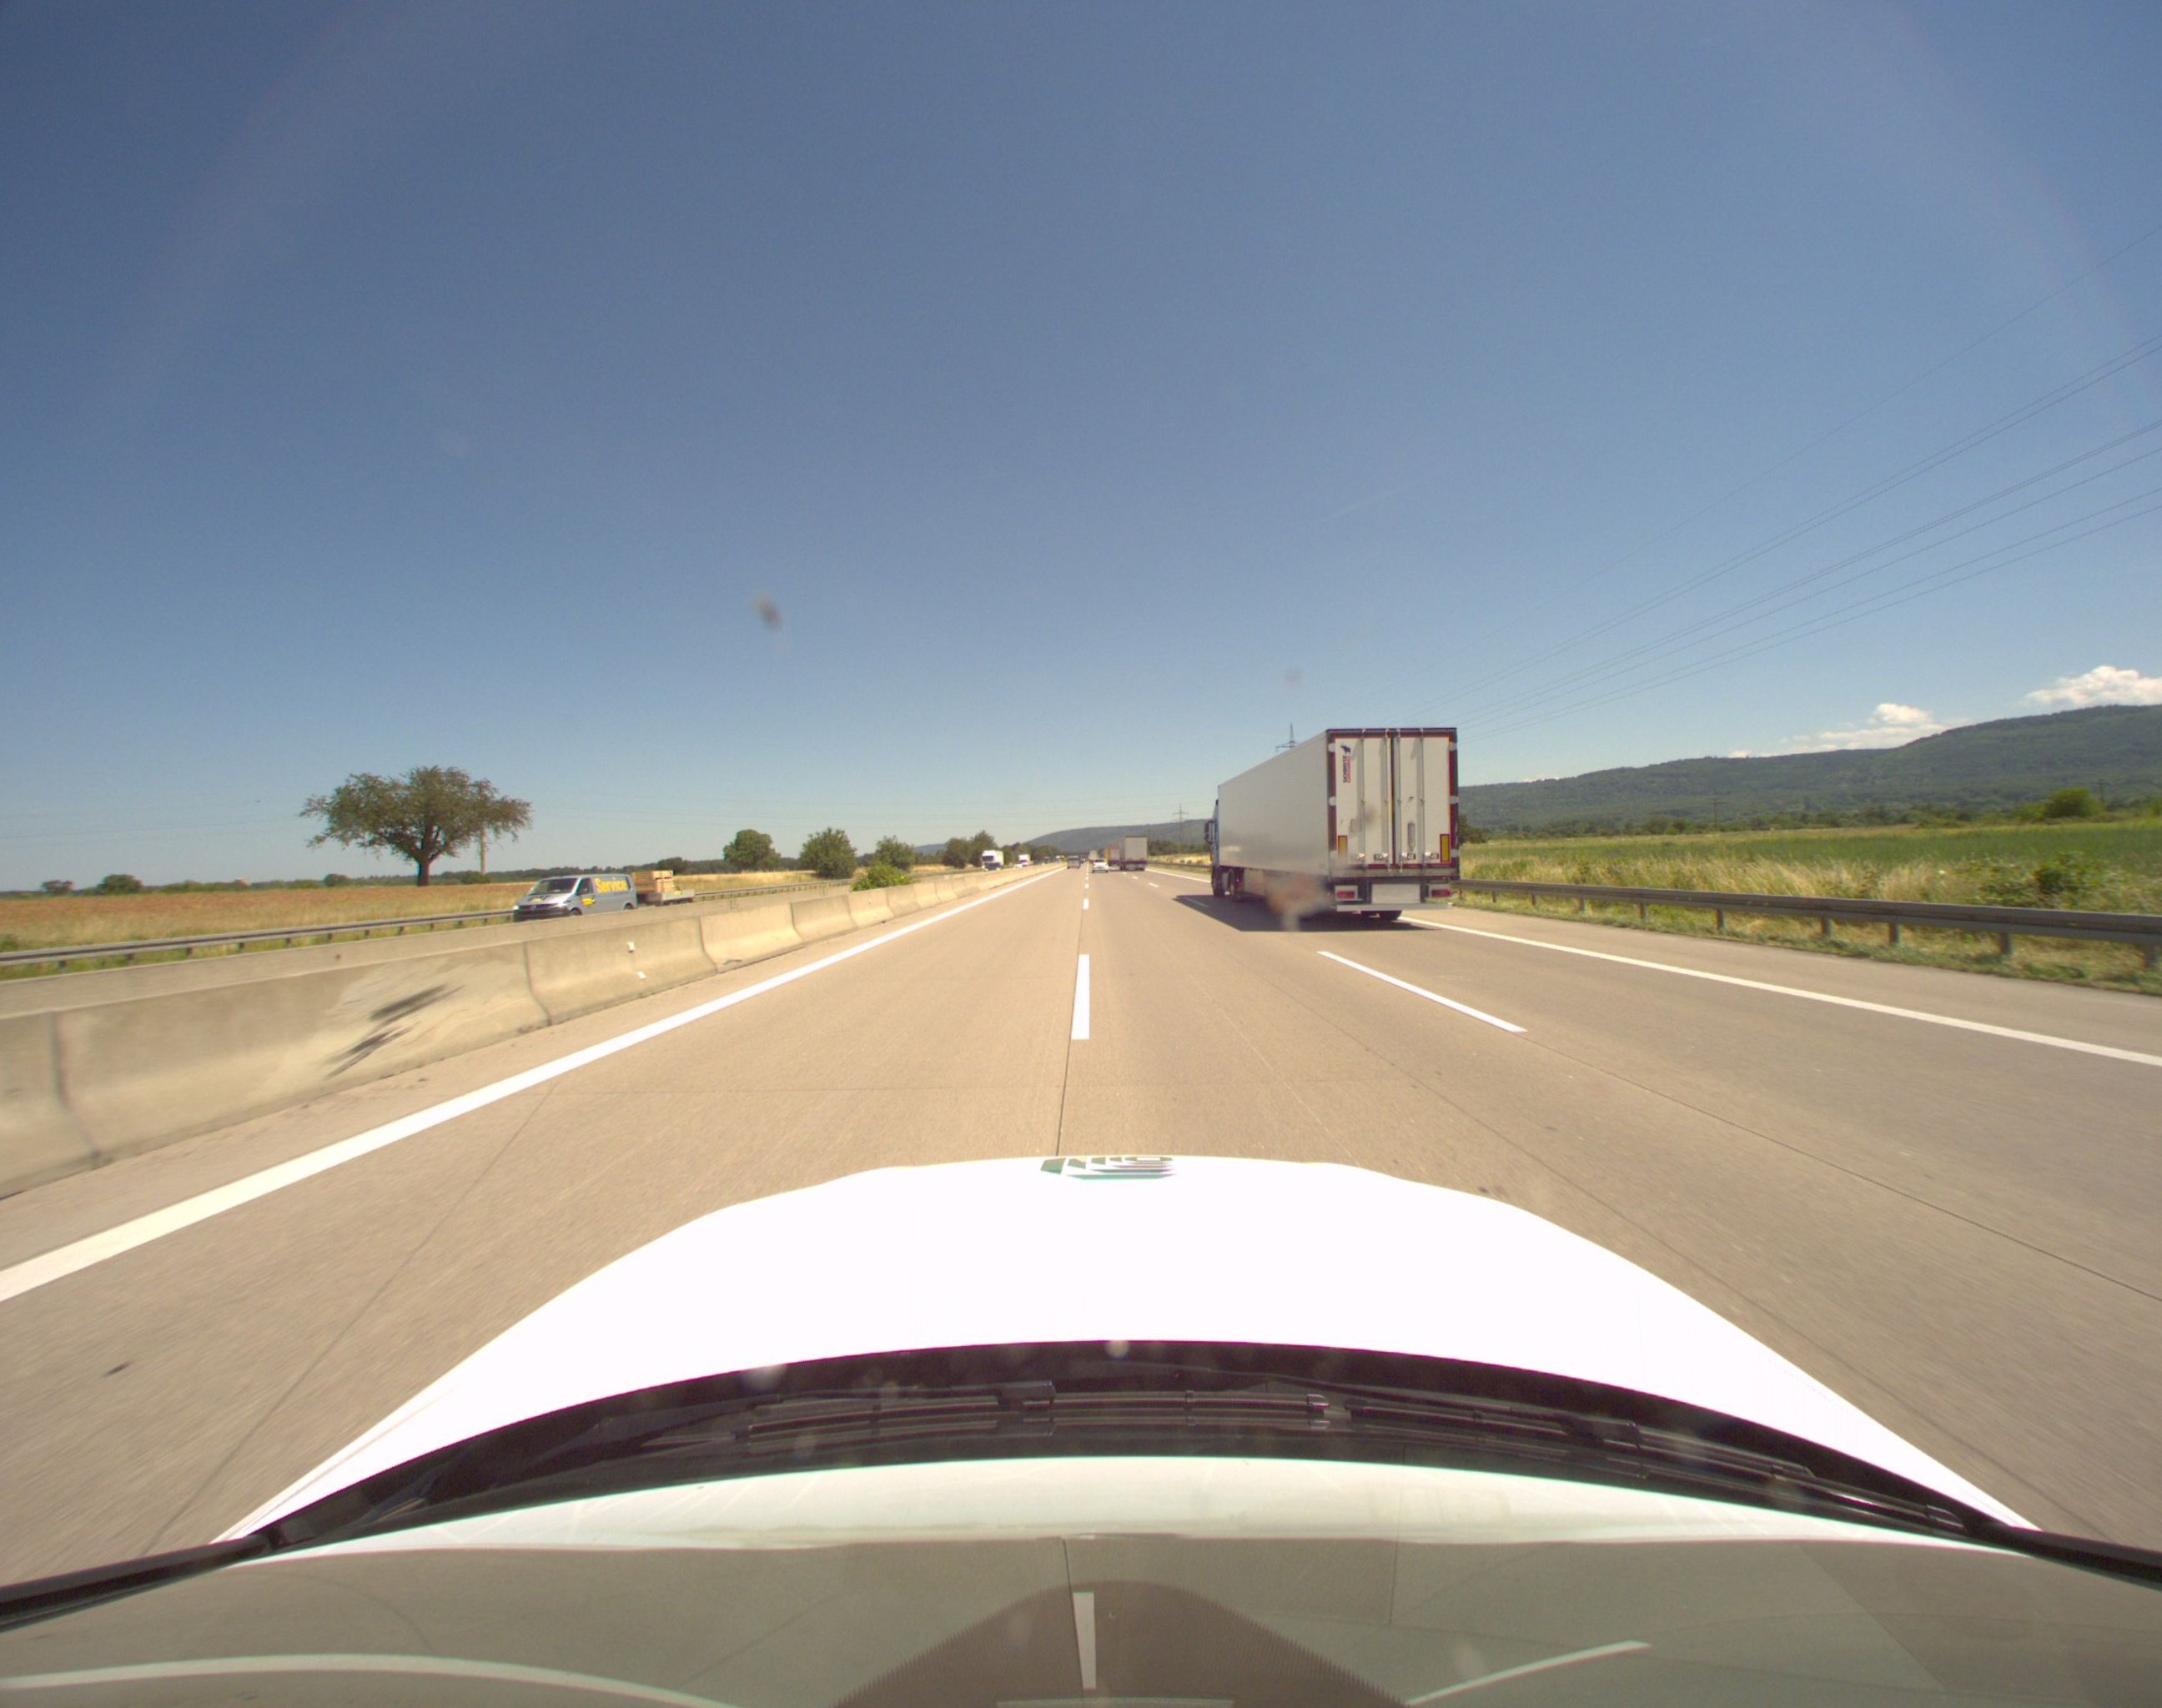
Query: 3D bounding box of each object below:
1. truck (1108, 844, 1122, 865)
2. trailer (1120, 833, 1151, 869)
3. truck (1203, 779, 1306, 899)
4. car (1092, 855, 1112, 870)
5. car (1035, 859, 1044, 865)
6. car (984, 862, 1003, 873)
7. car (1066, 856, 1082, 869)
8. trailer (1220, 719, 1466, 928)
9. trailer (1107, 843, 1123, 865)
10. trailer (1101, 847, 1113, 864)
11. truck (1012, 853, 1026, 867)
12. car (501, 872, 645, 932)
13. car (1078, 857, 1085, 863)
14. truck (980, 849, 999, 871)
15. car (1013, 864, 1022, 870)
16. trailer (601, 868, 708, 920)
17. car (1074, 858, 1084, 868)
[{"bbox_3d":[6.921,0.087,166.692,2.895,4.101,6.273,0,-1,1],"label":"truck"},{"bbox_3d":[6.544,-0.247,99.695,3.007,4.061,14.208,0,0,1],"label":"trailer"},{"bbox_3d":[6.302,-0.489,30.428,2.741,4.044,5.466,0,-1,1],"label":"truck"},{"bbox_3d":[2.245,0.934,87.515,2.099,1.536,4.123,0,0,2],"label":"car"},{"bbox_3d":[-10.546,1.972,205.898,1.839,1.351,4.495,-2,0,2],"label":"car"},{"bbox_3d":[-10.257,1.621,95.784,1.766,1.240,4.676,0,0,0],"label":"car"},{"bbox_3d":[-1.076,1.291,126.721,2.246,2.014,4.298,0,0,1],"label":"car"},{"bbox_3d":[6.197,-0.546,22.279,2.699,4.044,12.902,0,0,1],"label":"trailer"},{"bbox_3d":[6.714,0.051,161.239,2.863,4.101,13.515,0,0,1],"label":"trailer"},{"bbox_3d":[7.072,0.369,222.618,3.205,4.564,13.457,0,0,1],"label":"trailer"},{"bbox_3d":[-14.322,1.406,189.127,2.539,3.142,7.922,-1,0,0],"label":"truck"},{"bbox_3d":[-18.866,1.708,30.647,1.859,1.944,5.566,0,0,1],"label":"car"},{"bbox_3d":[0.156,1.720,240.308,1.777,1.881,4.000,0,0,1],"label":"car"},{"bbox_3d":[-17.570,1.193,156.892,2.809,4.044,5.678,0,-1,1],"label":"truck"},{"bbox_3d":[-13.580,2.799,174.340,1.676,1.146,4.395,-1,0,-2],"label":"car"},{"bbox_3d":[-18.801,1.703,36.233,1.804,2.042,5.612,0,0,0],"label":"trailer"},{"bbox_3d":[-0.414,1.705,159.345,1.987,1.957,4.000,0,0,1],"label":"car"}]
